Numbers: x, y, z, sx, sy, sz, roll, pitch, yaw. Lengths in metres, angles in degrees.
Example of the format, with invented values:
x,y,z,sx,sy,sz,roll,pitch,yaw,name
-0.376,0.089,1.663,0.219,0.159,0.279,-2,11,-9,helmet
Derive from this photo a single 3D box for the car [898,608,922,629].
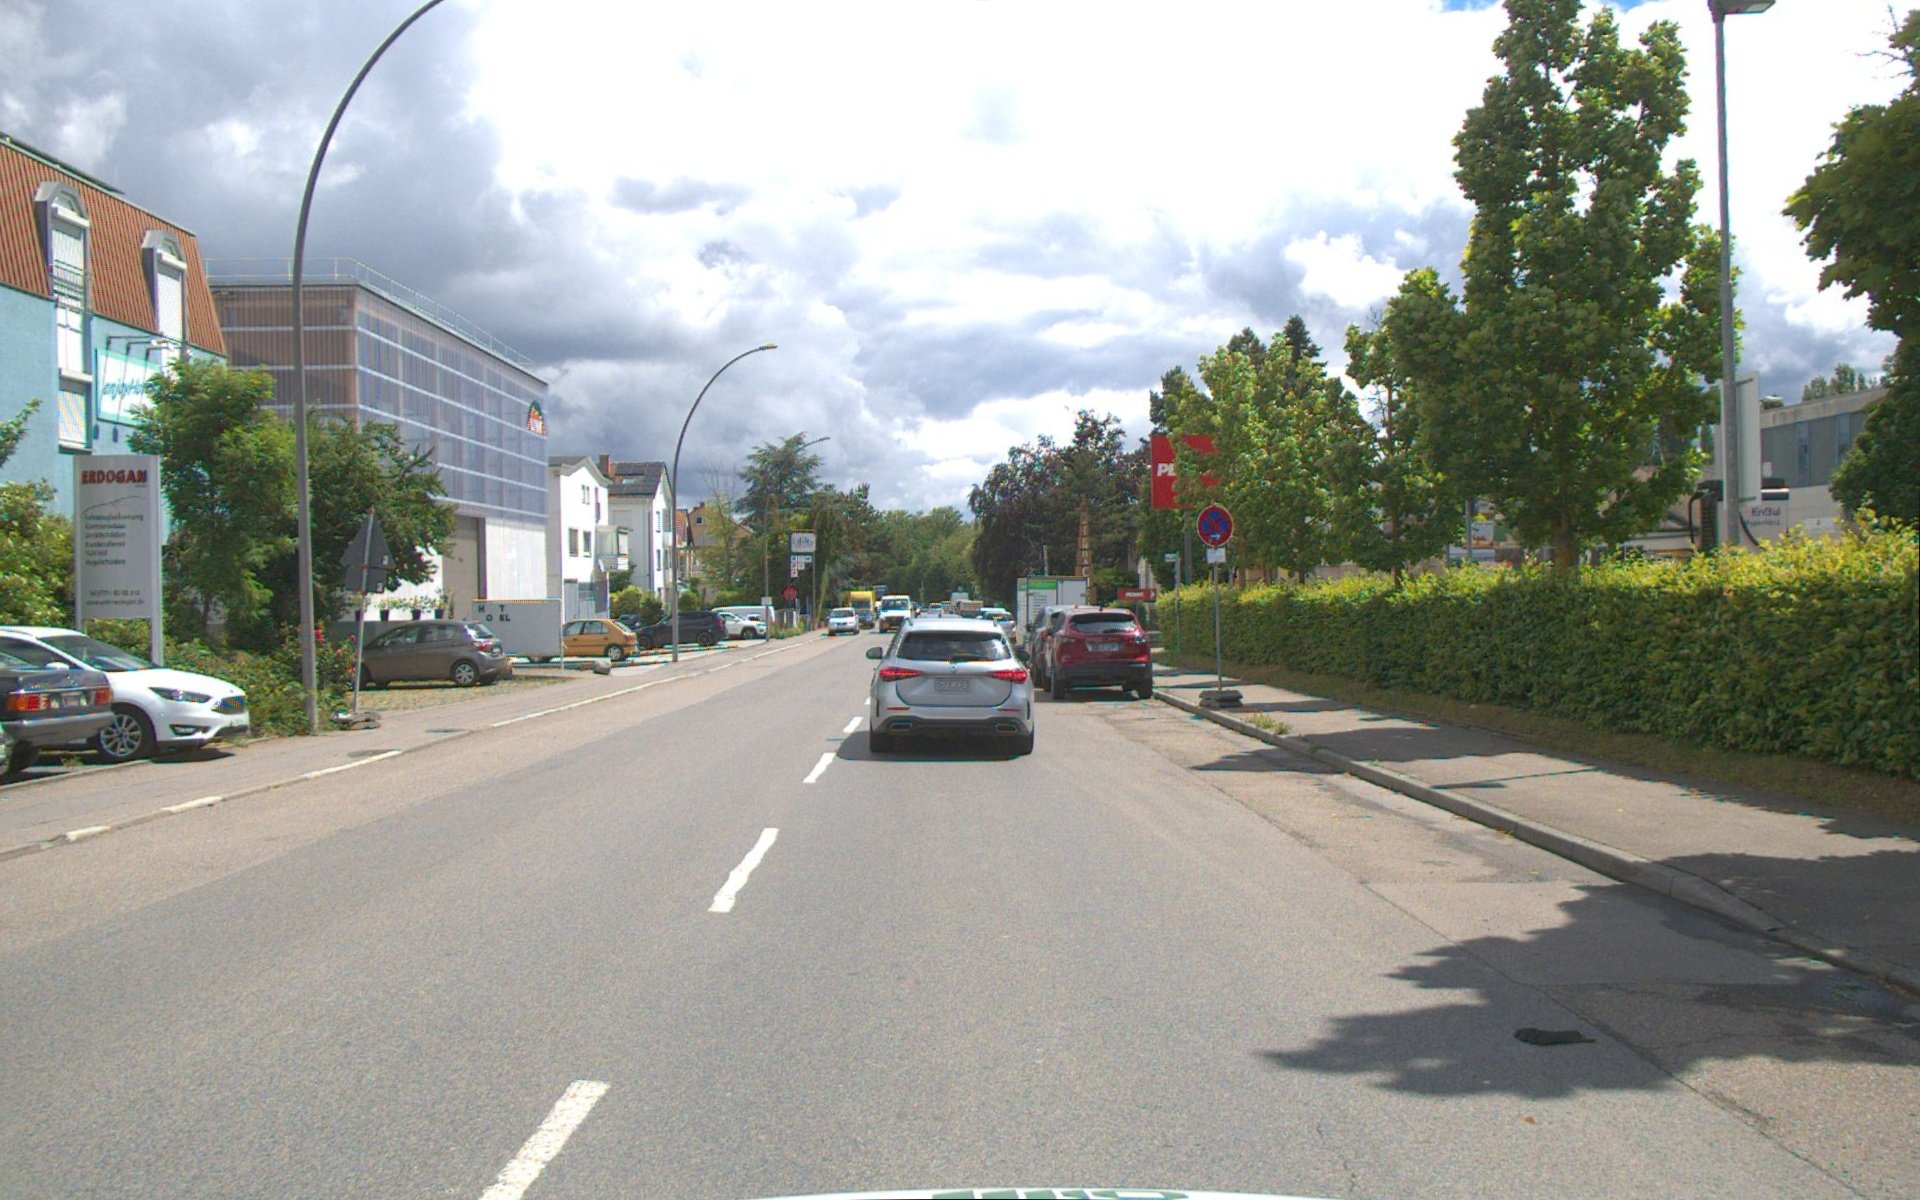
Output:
x,y,z,sx,sy,sz,roll,pitch,yaw,name
-4.566,1.681,151.817,1.953,1.763,4.548,-2,0,0,car

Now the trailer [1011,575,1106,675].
x,y,z,sx,sy,sz,roll,pitch,yaw,name
2.433,0.607,41.866,1.902,2.334,4.443,-1,0,-2,trailer

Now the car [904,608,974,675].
x,y,z,sx,sy,sz,roll,pitch,yaw,name
-0.569,1.030,42.680,1.720,1.585,3.999,-1,0,-2,car

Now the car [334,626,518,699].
x,y,z,sx,sy,sz,roll,pitch,yaw,name
-12.228,1.422,38.066,3.553,1.559,1.980,-1,0,1,car

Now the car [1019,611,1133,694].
x,y,z,sx,sy,sz,roll,pitch,yaw,name
2.446,1.076,35.888,1.903,1.599,4.443,-1,0,-3,car

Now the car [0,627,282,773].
x,y,z,sx,sy,sz,roll,pitch,yaw,name
-10.129,1.102,18.502,4.286,1.504,1.871,-1,-1,-1,car

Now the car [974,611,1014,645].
x,y,z,sx,sy,sz,roll,pitch,yaw,name
1.668,1.400,83.387,1.756,1.579,4.572,-2,0,-2,car

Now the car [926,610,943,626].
x,y,z,sx,sy,sz,roll,pitch,yaw,name
-2.651,1.805,169.867,1.720,1.585,3.999,-1,0,-2,car

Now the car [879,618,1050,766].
x,y,z,sx,sy,sz,roll,pitch,yaw,name
-0.051,0.972,19.099,1.749,1.510,4.314,0,-1,-3,car

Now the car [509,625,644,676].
x,y,z,sx,sy,sz,roll,pitch,yaw,name
-12.638,1.660,54.669,4.068,1.518,1.824,1,0,-5,car

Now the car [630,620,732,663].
x,y,z,sx,sy,sz,roll,pitch,yaw,name
-13.366,1.986,79.465,4.537,1.661,2.196,-4,0,-5,car

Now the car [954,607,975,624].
x,y,z,sx,sy,sz,roll,pitch,yaw,name
0.401,1.450,155.547,1.749,1.510,4.314,0,-1,-3,car

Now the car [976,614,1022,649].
x,y,z,sx,sy,sz,roll,pitch,yaw,name
1.805,1.452,77.622,1.756,1.475,4.360,-2,0,-3,car

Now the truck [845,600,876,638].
x,y,z,sx,sy,sz,roll,pitch,yaw,name
-8.066,1.504,134.773,2.032,2.863,7.077,-2,0,0,truck

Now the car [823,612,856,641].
x,y,z,sx,sy,sz,roll,pitch,yaw,name
-7.321,1.618,100.990,1.755,1.631,4.362,-2,0,-1,car

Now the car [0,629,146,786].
x,y,z,sx,sy,sz,roll,pitch,yaw,name
-10.319,1.028,16.025,3.904,1.379,1.872,-1,0,1,car

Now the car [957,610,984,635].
x,y,z,sx,sy,sz,roll,pitch,yaw,name
0.833,1.838,136.497,2.100,2.019,5.260,-1,0,-1,car

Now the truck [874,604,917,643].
x,y,z,sx,sy,sz,roll,pitch,yaw,name
-3.982,1.422,103.228,2.271,2.216,6.449,-2,0,1,truck

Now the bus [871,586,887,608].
x,y,z,sx,sy,sz,roll,pitch,yaw,name
-12.812,-0.472,260.905,1.955,3.423,6.973,1,0,-6,bus

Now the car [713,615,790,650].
x,y,z,sx,sy,sz,roll,pitch,yaw,name
-12.045,1.890,95.674,4.193,1.868,1.990,-1,-3,-2,car

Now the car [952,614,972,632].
x,y,z,sx,sy,sz,roll,pitch,yaw,name
0.190,2.270,161.725,1.749,1.745,4.314,0,-1,-3,car

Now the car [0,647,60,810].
x,y,z,sx,sy,sz,roll,pitch,yaw,name
-9.915,1.111,13.659,3.907,1.338,1.870,-1,-1,-3,car

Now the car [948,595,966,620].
x,y,z,sx,sy,sz,roll,pitch,yaw,name
-0.338,0.816,173.877,1.749,2.563,4.314,0,-1,-3,car

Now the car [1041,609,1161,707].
x,y,z,sx,sy,sz,roll,pitch,yaw,name
2.545,1.016,30.774,1.901,1.599,4.446,-1,0,1,car

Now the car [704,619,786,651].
x,y,z,sx,sy,sz,roll,pitch,yaw,name
-11.735,1.916,90.470,4.192,1.594,1.990,-1,-3,-1,car
